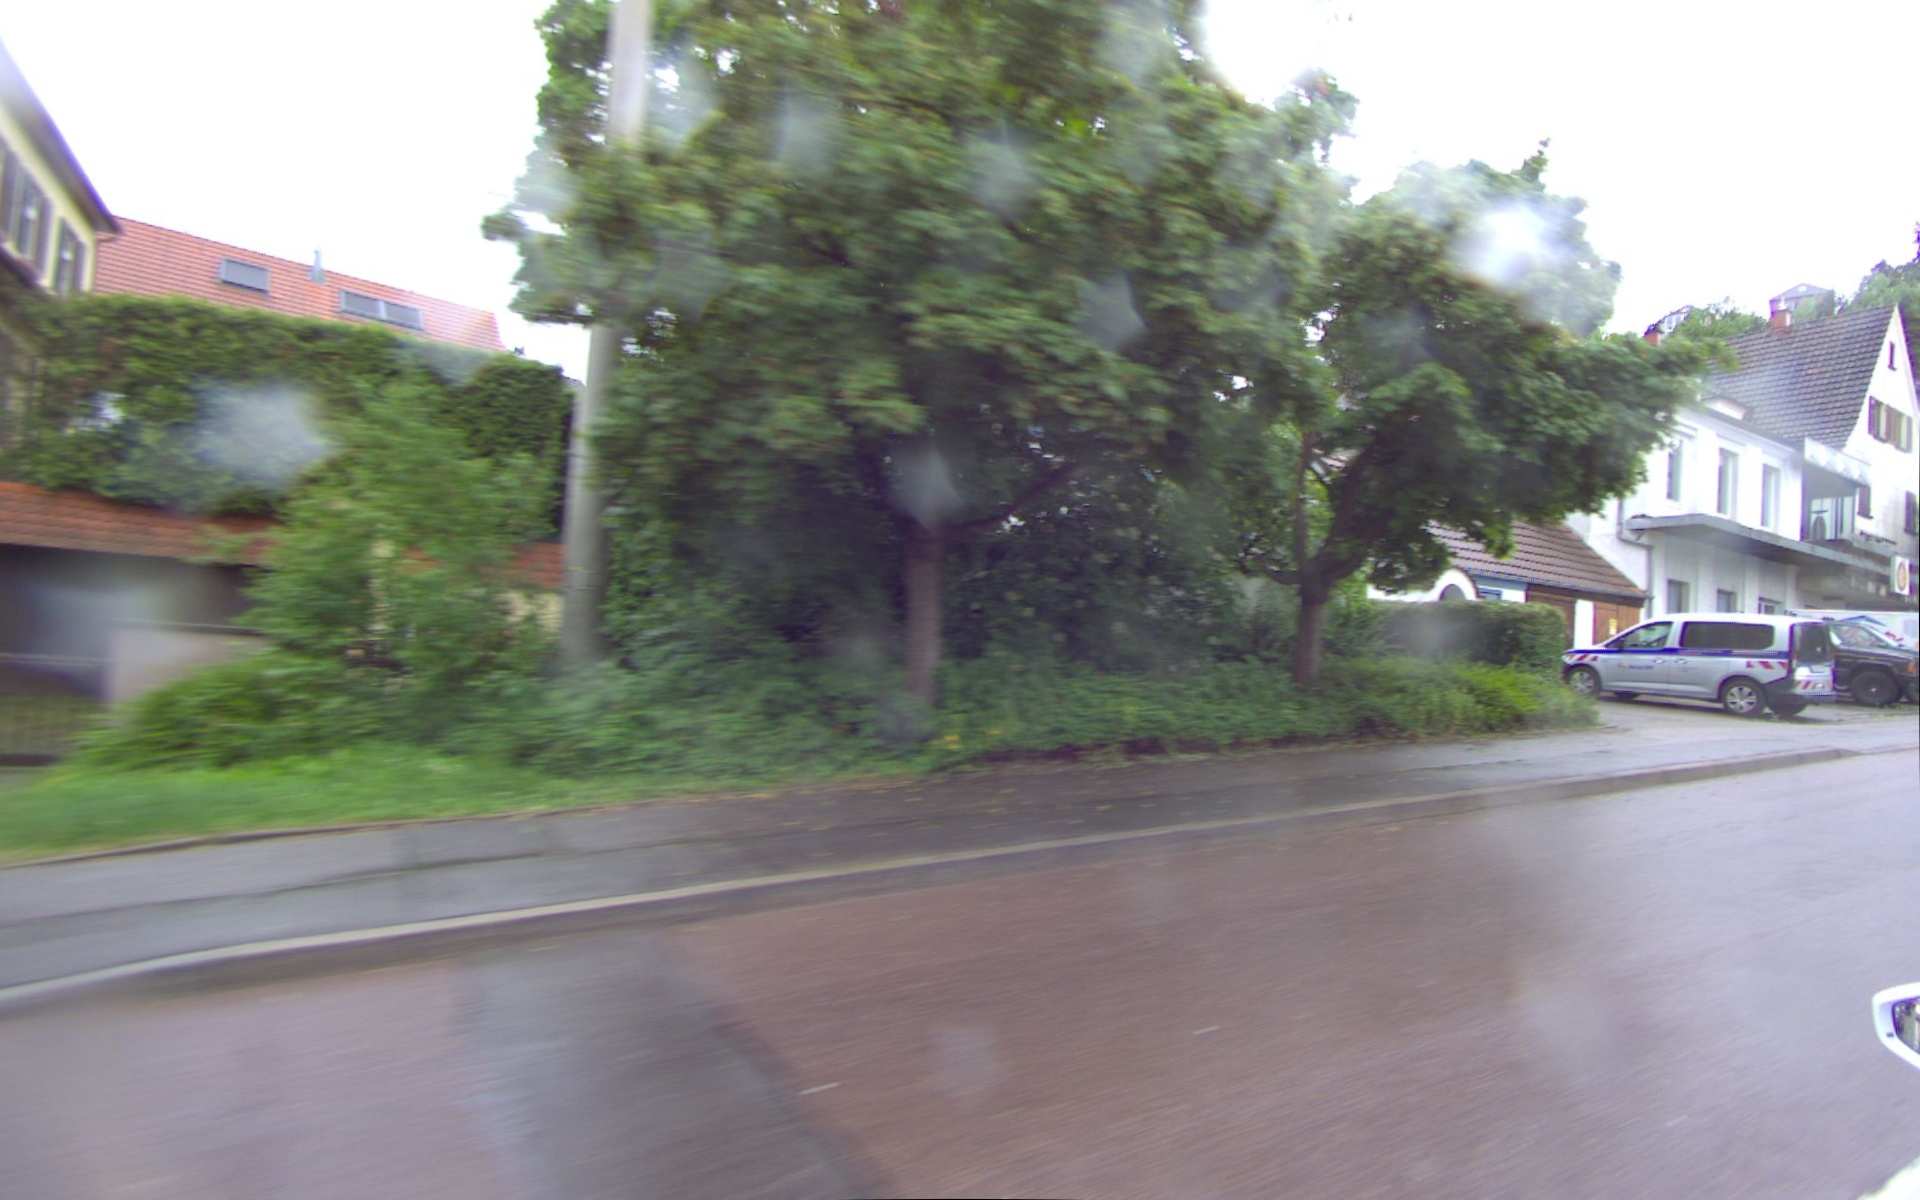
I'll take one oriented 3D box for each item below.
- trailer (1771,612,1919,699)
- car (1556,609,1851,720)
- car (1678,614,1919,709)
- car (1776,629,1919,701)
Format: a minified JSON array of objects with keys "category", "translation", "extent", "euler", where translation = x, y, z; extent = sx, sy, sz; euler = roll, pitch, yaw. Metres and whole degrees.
[{"category":"trailer","translation":[23.427,1.408,25.852],"extent":[3.898,2.130,1.946],"euler":[-1,-3,37]},{"category":"car","translation":[14.006,1.134,19.187],"extent":[1.975,1.824,4.089],"euler":[2,-1,-28]},{"category":"car","translation":[18.792,1.292,22.511],"extent":[1.784,1.798,4.043],"euler":[2,0,-39]},{"category":"car","translation":[21.307,1.493,23.403],"extent":[1.825,1.505,3.305],"euler":[2,-1,-41]}]
